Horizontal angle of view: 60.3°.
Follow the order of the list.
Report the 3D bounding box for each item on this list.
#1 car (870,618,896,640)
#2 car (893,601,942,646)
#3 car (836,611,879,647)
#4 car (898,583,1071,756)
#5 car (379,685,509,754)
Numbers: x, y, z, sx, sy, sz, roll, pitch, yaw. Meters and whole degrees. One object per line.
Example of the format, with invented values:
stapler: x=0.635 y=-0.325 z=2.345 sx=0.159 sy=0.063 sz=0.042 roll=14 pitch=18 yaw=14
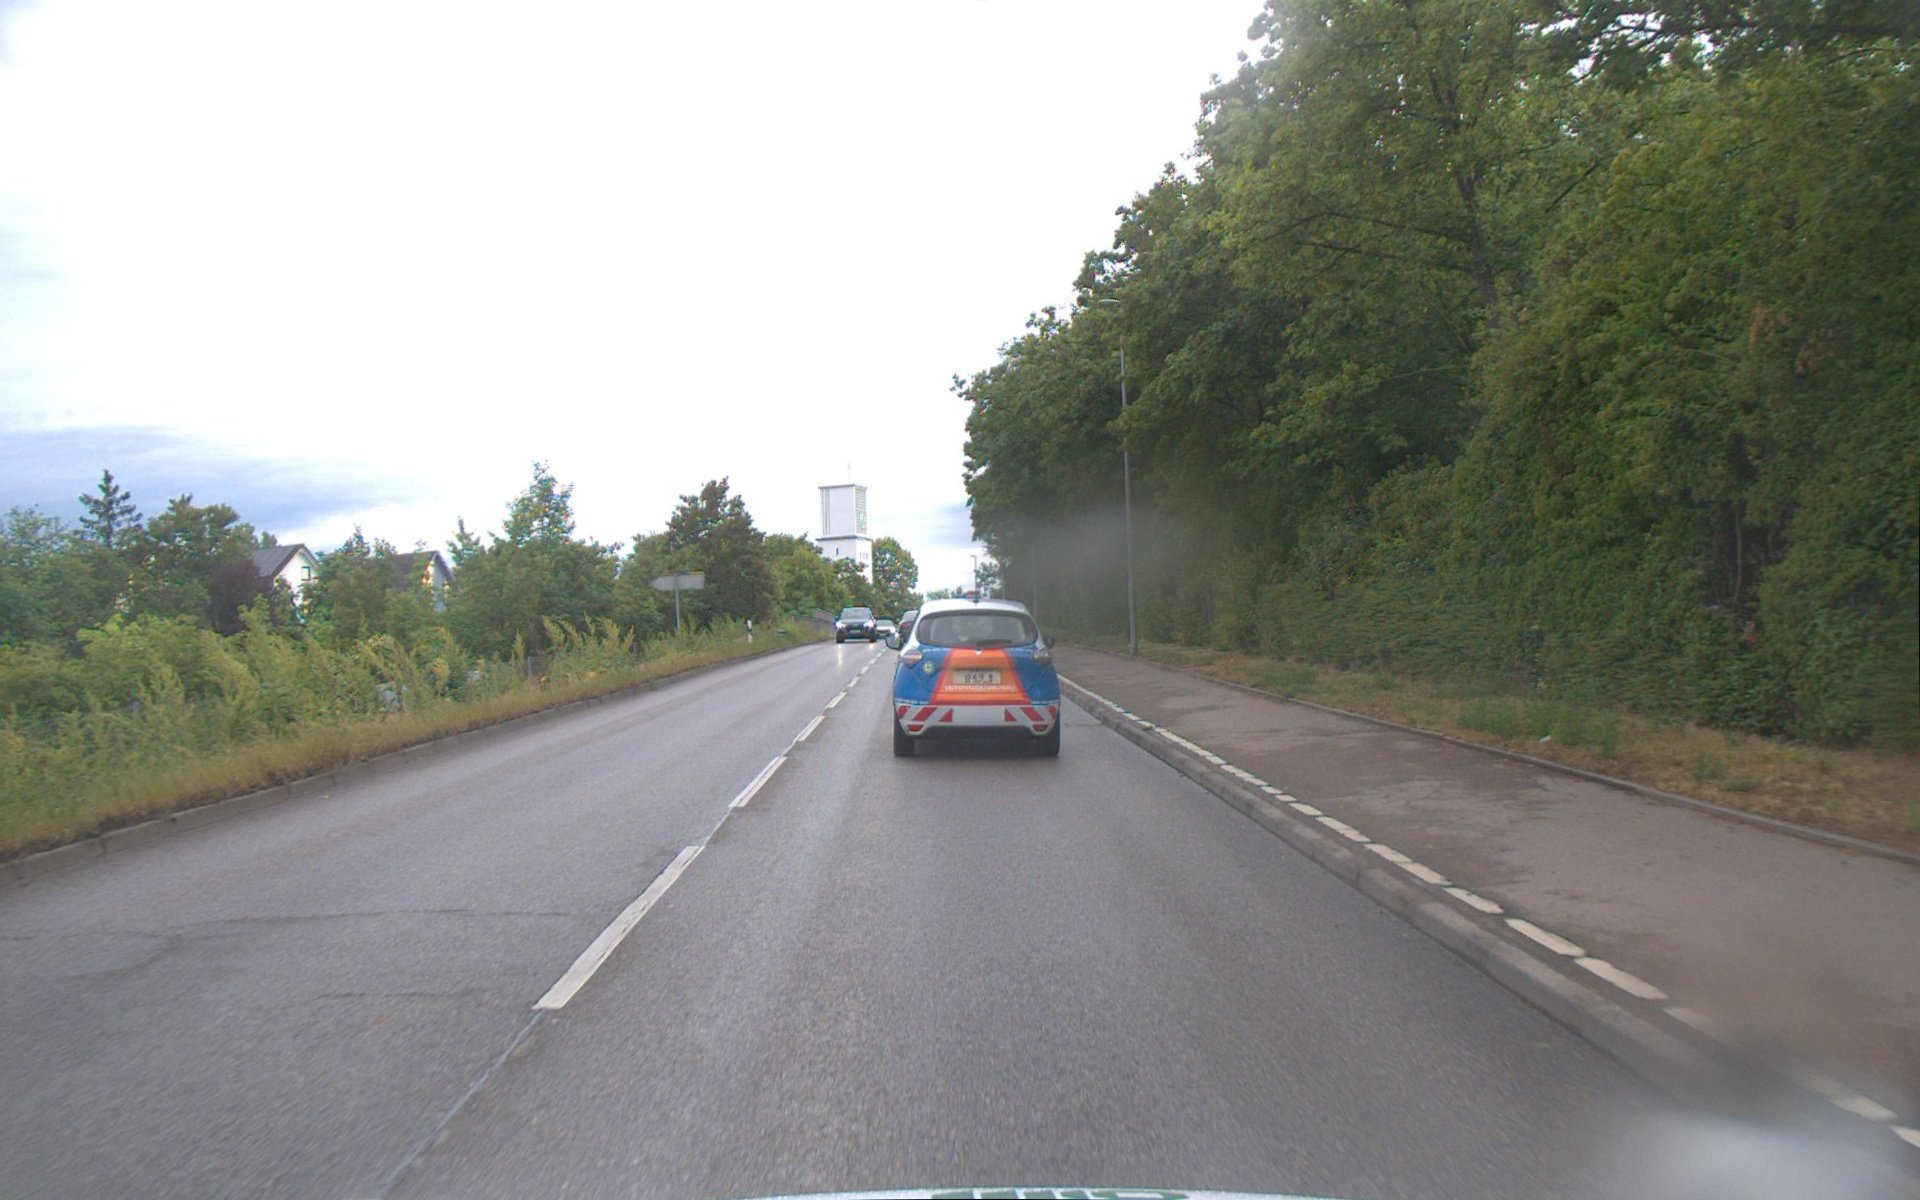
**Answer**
car: x=-5.665 y=2.121 z=121.936 sx=1.824 sy=1.530 sz=4.726 roll=-1 pitch=-1 yaw=-2
car: x=-1.664 y=0.912 z=64.418 sx=1.766 sy=1.618 sz=3.561 roll=-3 pitch=-1 yaw=-3
car: x=-4.904 y=1.382 z=79.624 sx=1.831 sy=1.613 sz=4.413 roll=-1 pitch=0 yaw=-1
car: x=0.192 y=0.710 z=17.649 sx=1.624 sy=1.621 sz=3.567 roll=-1 pitch=-1 yaw=-1
car: x=-14.372 y=3.307 z=46.261 sx=1.617 sy=1.550 sz=4.070 roll=-3 pitch=-1 yaw=12
